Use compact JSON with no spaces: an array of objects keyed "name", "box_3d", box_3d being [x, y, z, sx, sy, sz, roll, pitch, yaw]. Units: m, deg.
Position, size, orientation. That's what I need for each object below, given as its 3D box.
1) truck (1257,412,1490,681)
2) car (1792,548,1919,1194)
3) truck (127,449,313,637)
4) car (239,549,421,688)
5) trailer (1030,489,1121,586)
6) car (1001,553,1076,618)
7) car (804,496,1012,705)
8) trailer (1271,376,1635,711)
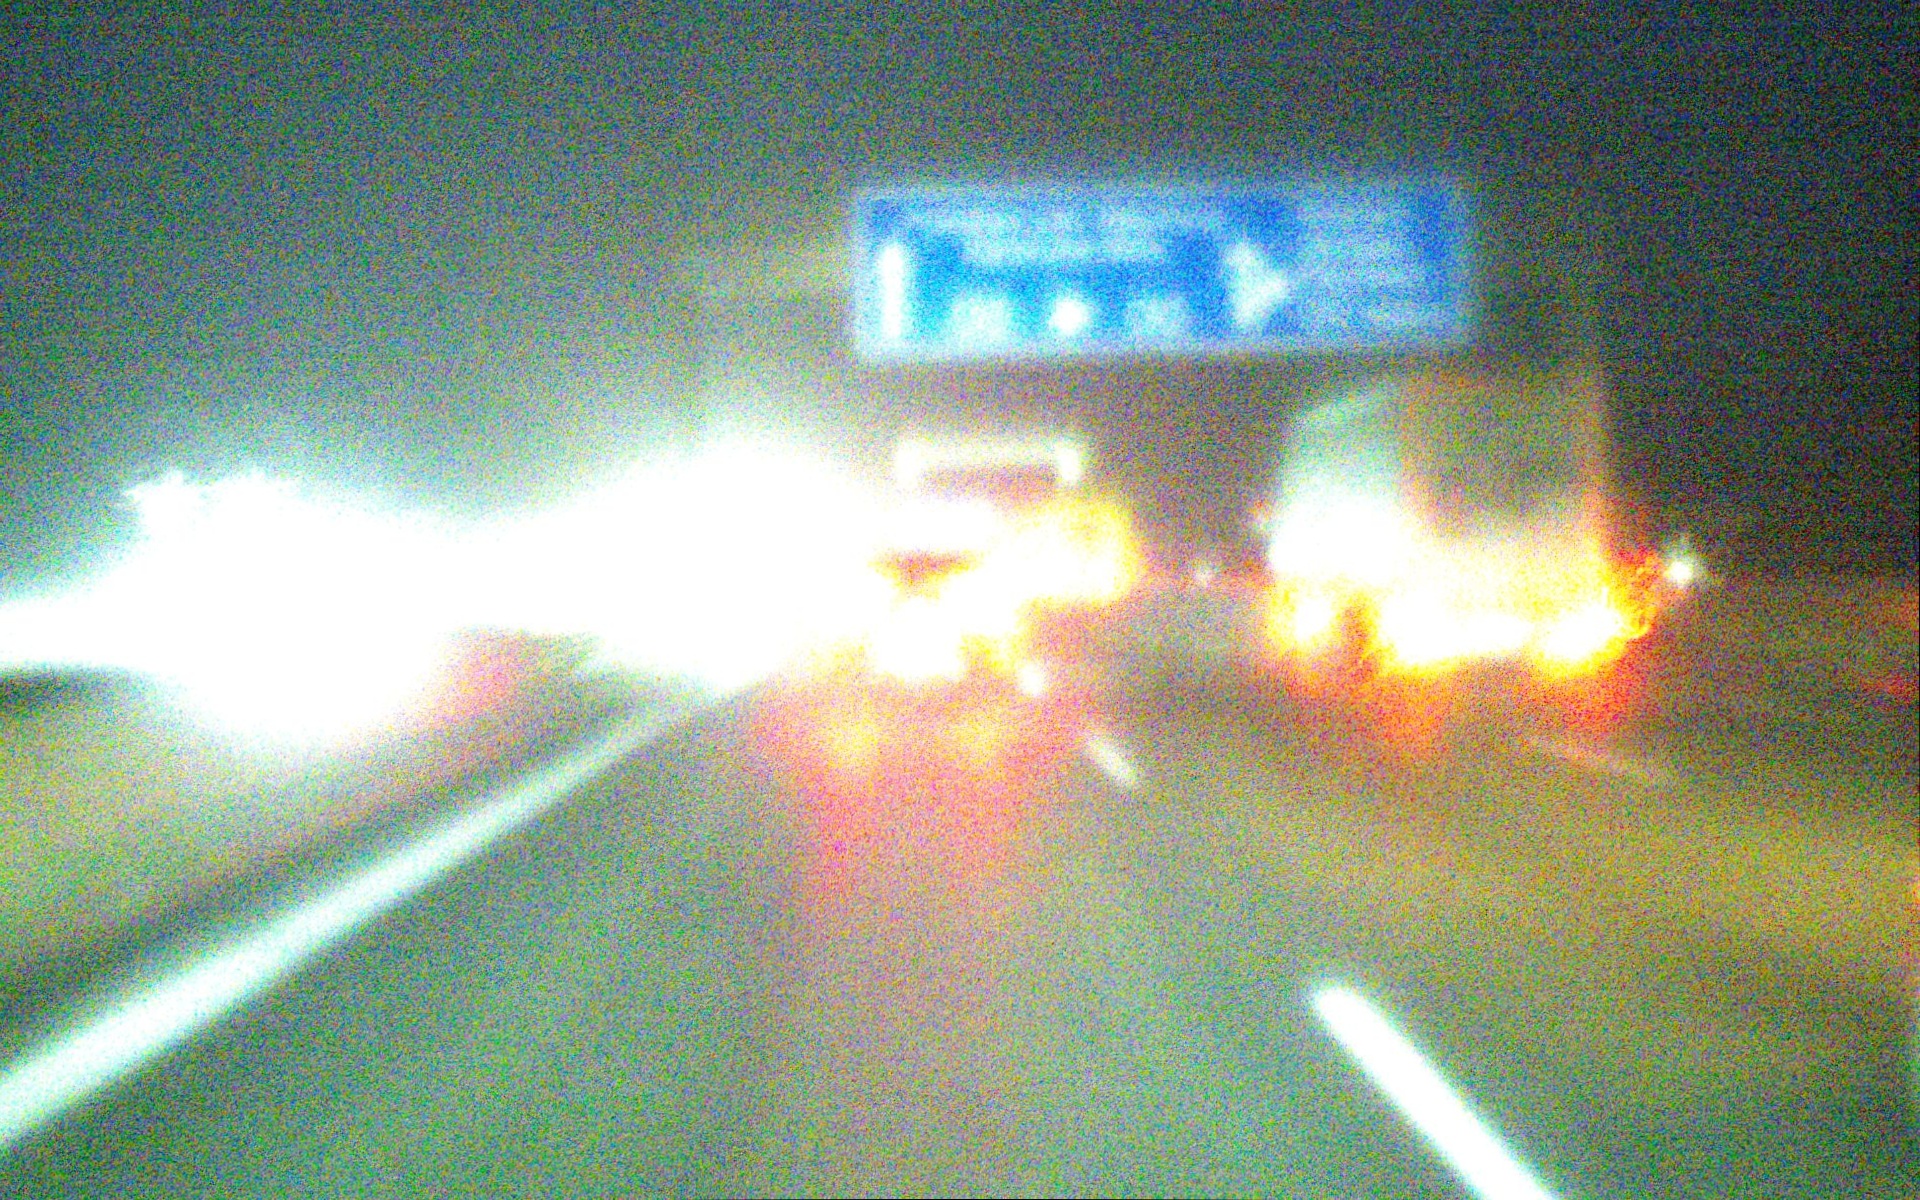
[{"name":"truck","box_3d":[6.701,-0.861,56.599,2.903,4.094,6.031,-2,0,-1]},{"name":"car","box_3d":[3.221,0.655,7.275,1.740,1.570,4.494,0,0,-1]},{"name":"truck","box_3d":[-18.057,-1.365,84.262,2.973,4.254,6.505,4,0,-1]},{"name":"car","box_3d":[-9.659,0.247,53.007,1.993,2.007,4.451,-1,1,-1]},{"name":"trailer","box_3d":[5.214,-2.780,158.147,3.041,4.095,13.829,-2,0,-2]},{"name":"car","box_3d":[2.525,-0.454,111.878,1.993,2.007,4.000,-2,0,-4]},{"name":"car","box_3d":[-0.533,0.017,35.165,1.993,2.007,4.000,0,0,-1]},{"name":"trailer","box_3d":[6.800,-0.775,50.121,2.903,4.094,14.488,-2,1,-1]}]
